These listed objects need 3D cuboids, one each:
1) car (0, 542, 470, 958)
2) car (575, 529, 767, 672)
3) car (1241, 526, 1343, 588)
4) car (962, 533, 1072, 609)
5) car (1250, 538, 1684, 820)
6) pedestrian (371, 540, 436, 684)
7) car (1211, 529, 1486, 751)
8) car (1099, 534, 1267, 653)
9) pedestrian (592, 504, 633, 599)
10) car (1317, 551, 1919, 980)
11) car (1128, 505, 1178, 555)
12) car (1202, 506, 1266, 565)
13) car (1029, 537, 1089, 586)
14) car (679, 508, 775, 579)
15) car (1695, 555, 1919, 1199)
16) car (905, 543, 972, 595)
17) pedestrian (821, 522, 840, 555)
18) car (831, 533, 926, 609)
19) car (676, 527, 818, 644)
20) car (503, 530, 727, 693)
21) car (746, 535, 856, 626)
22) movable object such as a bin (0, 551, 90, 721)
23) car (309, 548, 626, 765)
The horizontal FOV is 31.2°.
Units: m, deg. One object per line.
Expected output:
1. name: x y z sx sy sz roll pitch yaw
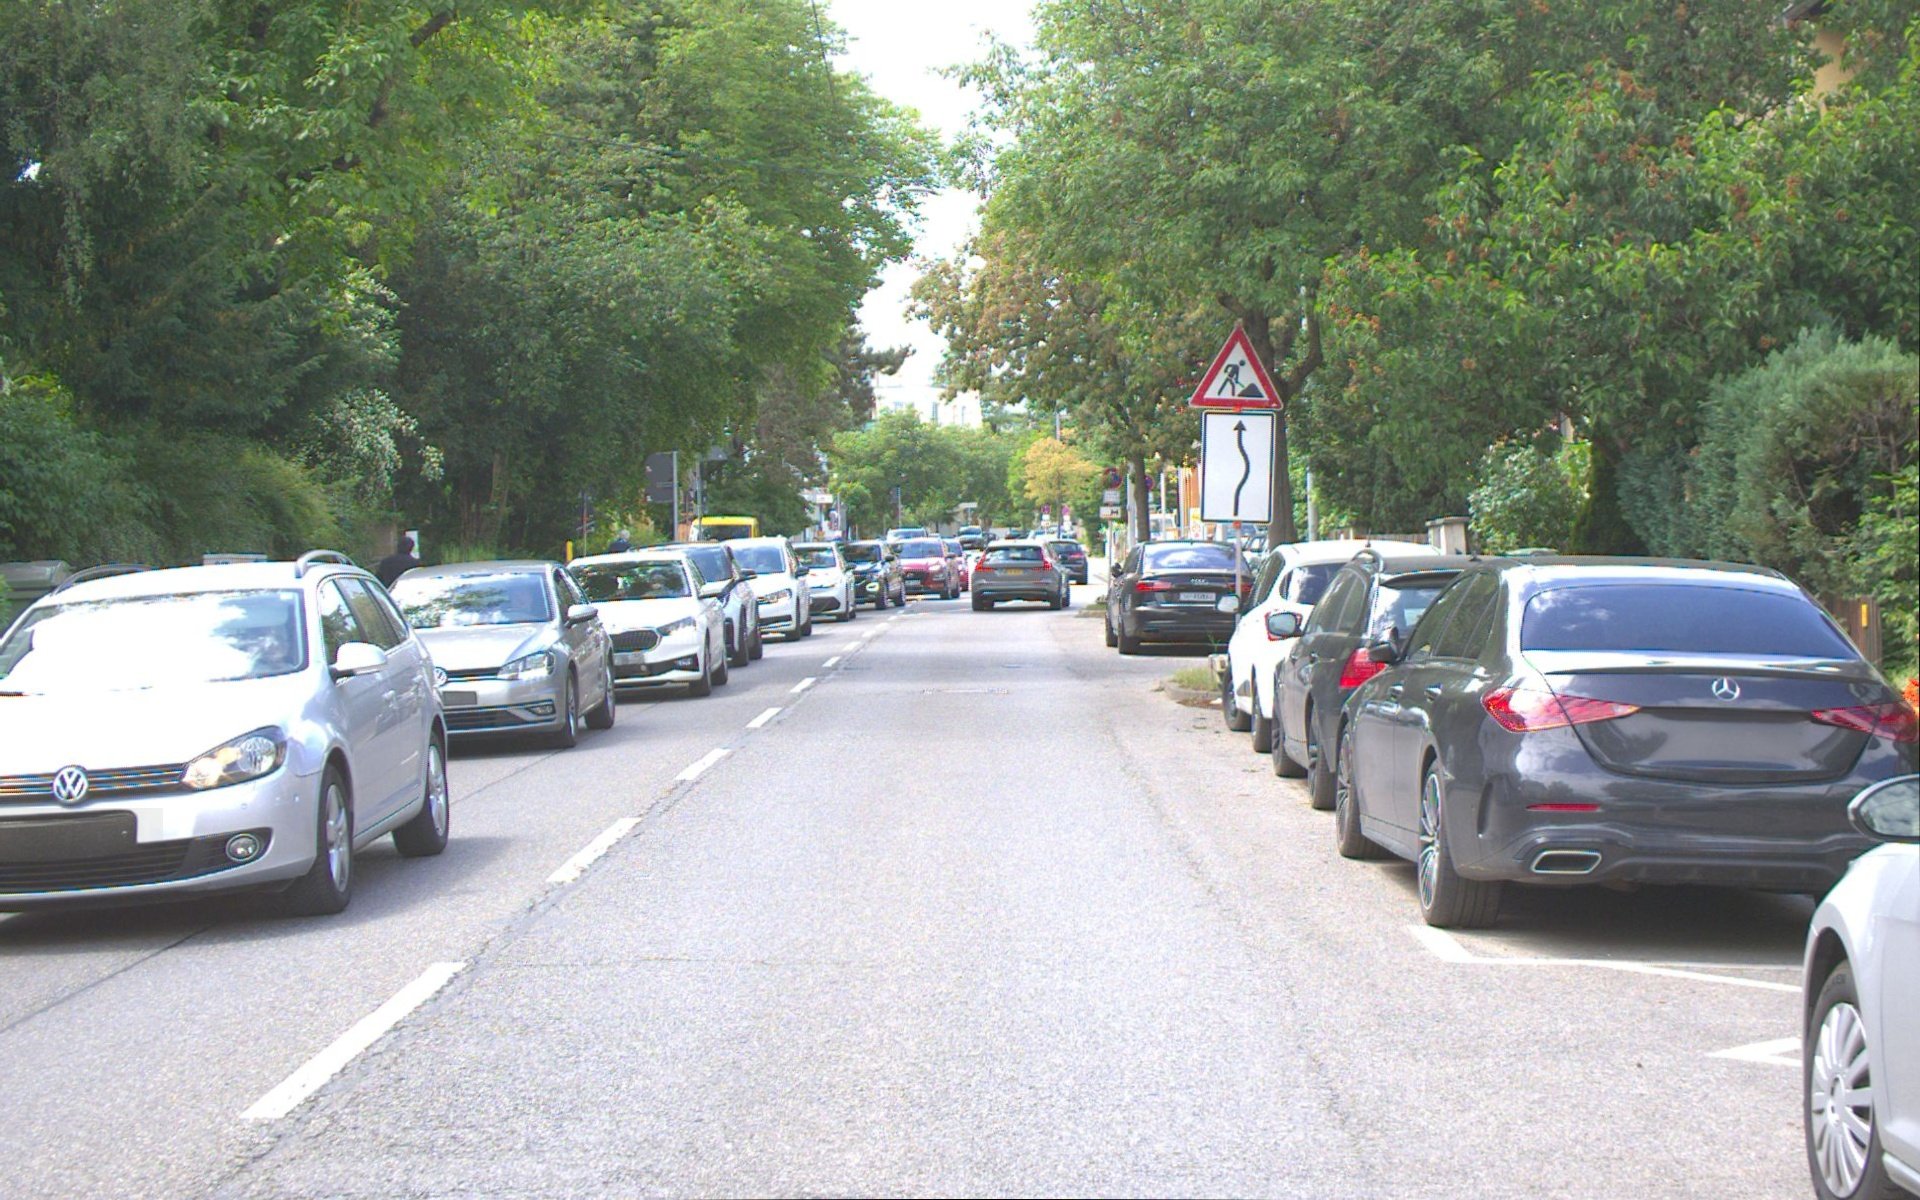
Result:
1. car: -3.391 0.554 15.326 1.728 1.497 4.376 -4 1 0
2. car: -3.561 -0.035 43.053 1.928 1.541 4.087 -4 1 0
3. car: 7.316 -0.971 76.018 1.724 1.312 4.267 -1 1 -1
4. car: 1.239 -0.637 72.762 1.976 1.508 4.266 2 1 5
5. car: 2.866 0.375 20.422 1.993 1.418 4.588 -2 1 2
6. pedestrian: -6.552 0.141 40.505 0.653 1.661 0.932 -1 0 -5
7. car: 2.841 0.240 25.821 1.622 1.502 3.779 -2 1 0
8. car: 2.839 -0.124 44.707 1.801 1.440 4.887 1 1 -1
9. pedestrian: -6.522 -0.909 64.622 0.714 1.756 1.122 -1 0 -5
10. car: 2.626 0.549 14.519 1.734 1.424 4.883 1 1 0
11. car: 8.103 -2.928 144.497 1.993 2.007 4.000 -1 0 2
12. car: 8.390 -1.984 105.400 1.784 1.629 3.692 -4 1 4
13. car: 3.070 -1.216 106.959 1.816 1.495 4.267 0 1 2
14. car: -6.719 -1.620 99.587 2.146 1.974 4.930 -1 0 3
15. car: 2.654 0.680 6.074 1.701 1.475 4.872 0 1 1
16. car: -0.597 -0.881 97.686 1.691 1.420 3.437 -1 0 2
17. pedestrian: -5.726 -2.721 151.996 0.705 1.434 0.713 -1 0 5
18. car: -1.799 -0.667 76.818 1.789 1.536 4.263 -3 1 2
19. car: -3.281 -0.260 53.650 1.786 1.642 4.491 -3 1 1
20. car: -3.412 0.067 34.649 1.760 1.434 3.970 -3 1 0
21. car: -3.030 -0.406 66.150 1.785 1.586 4.154 -3 1 1
22. movable object such as a bin: -8.266 0.305 29.566 1.330 1.422 1.214 -1 0 -6
23. car: -3.778 0.383 27.048 1.709 1.450 4.287 -4 1 1
